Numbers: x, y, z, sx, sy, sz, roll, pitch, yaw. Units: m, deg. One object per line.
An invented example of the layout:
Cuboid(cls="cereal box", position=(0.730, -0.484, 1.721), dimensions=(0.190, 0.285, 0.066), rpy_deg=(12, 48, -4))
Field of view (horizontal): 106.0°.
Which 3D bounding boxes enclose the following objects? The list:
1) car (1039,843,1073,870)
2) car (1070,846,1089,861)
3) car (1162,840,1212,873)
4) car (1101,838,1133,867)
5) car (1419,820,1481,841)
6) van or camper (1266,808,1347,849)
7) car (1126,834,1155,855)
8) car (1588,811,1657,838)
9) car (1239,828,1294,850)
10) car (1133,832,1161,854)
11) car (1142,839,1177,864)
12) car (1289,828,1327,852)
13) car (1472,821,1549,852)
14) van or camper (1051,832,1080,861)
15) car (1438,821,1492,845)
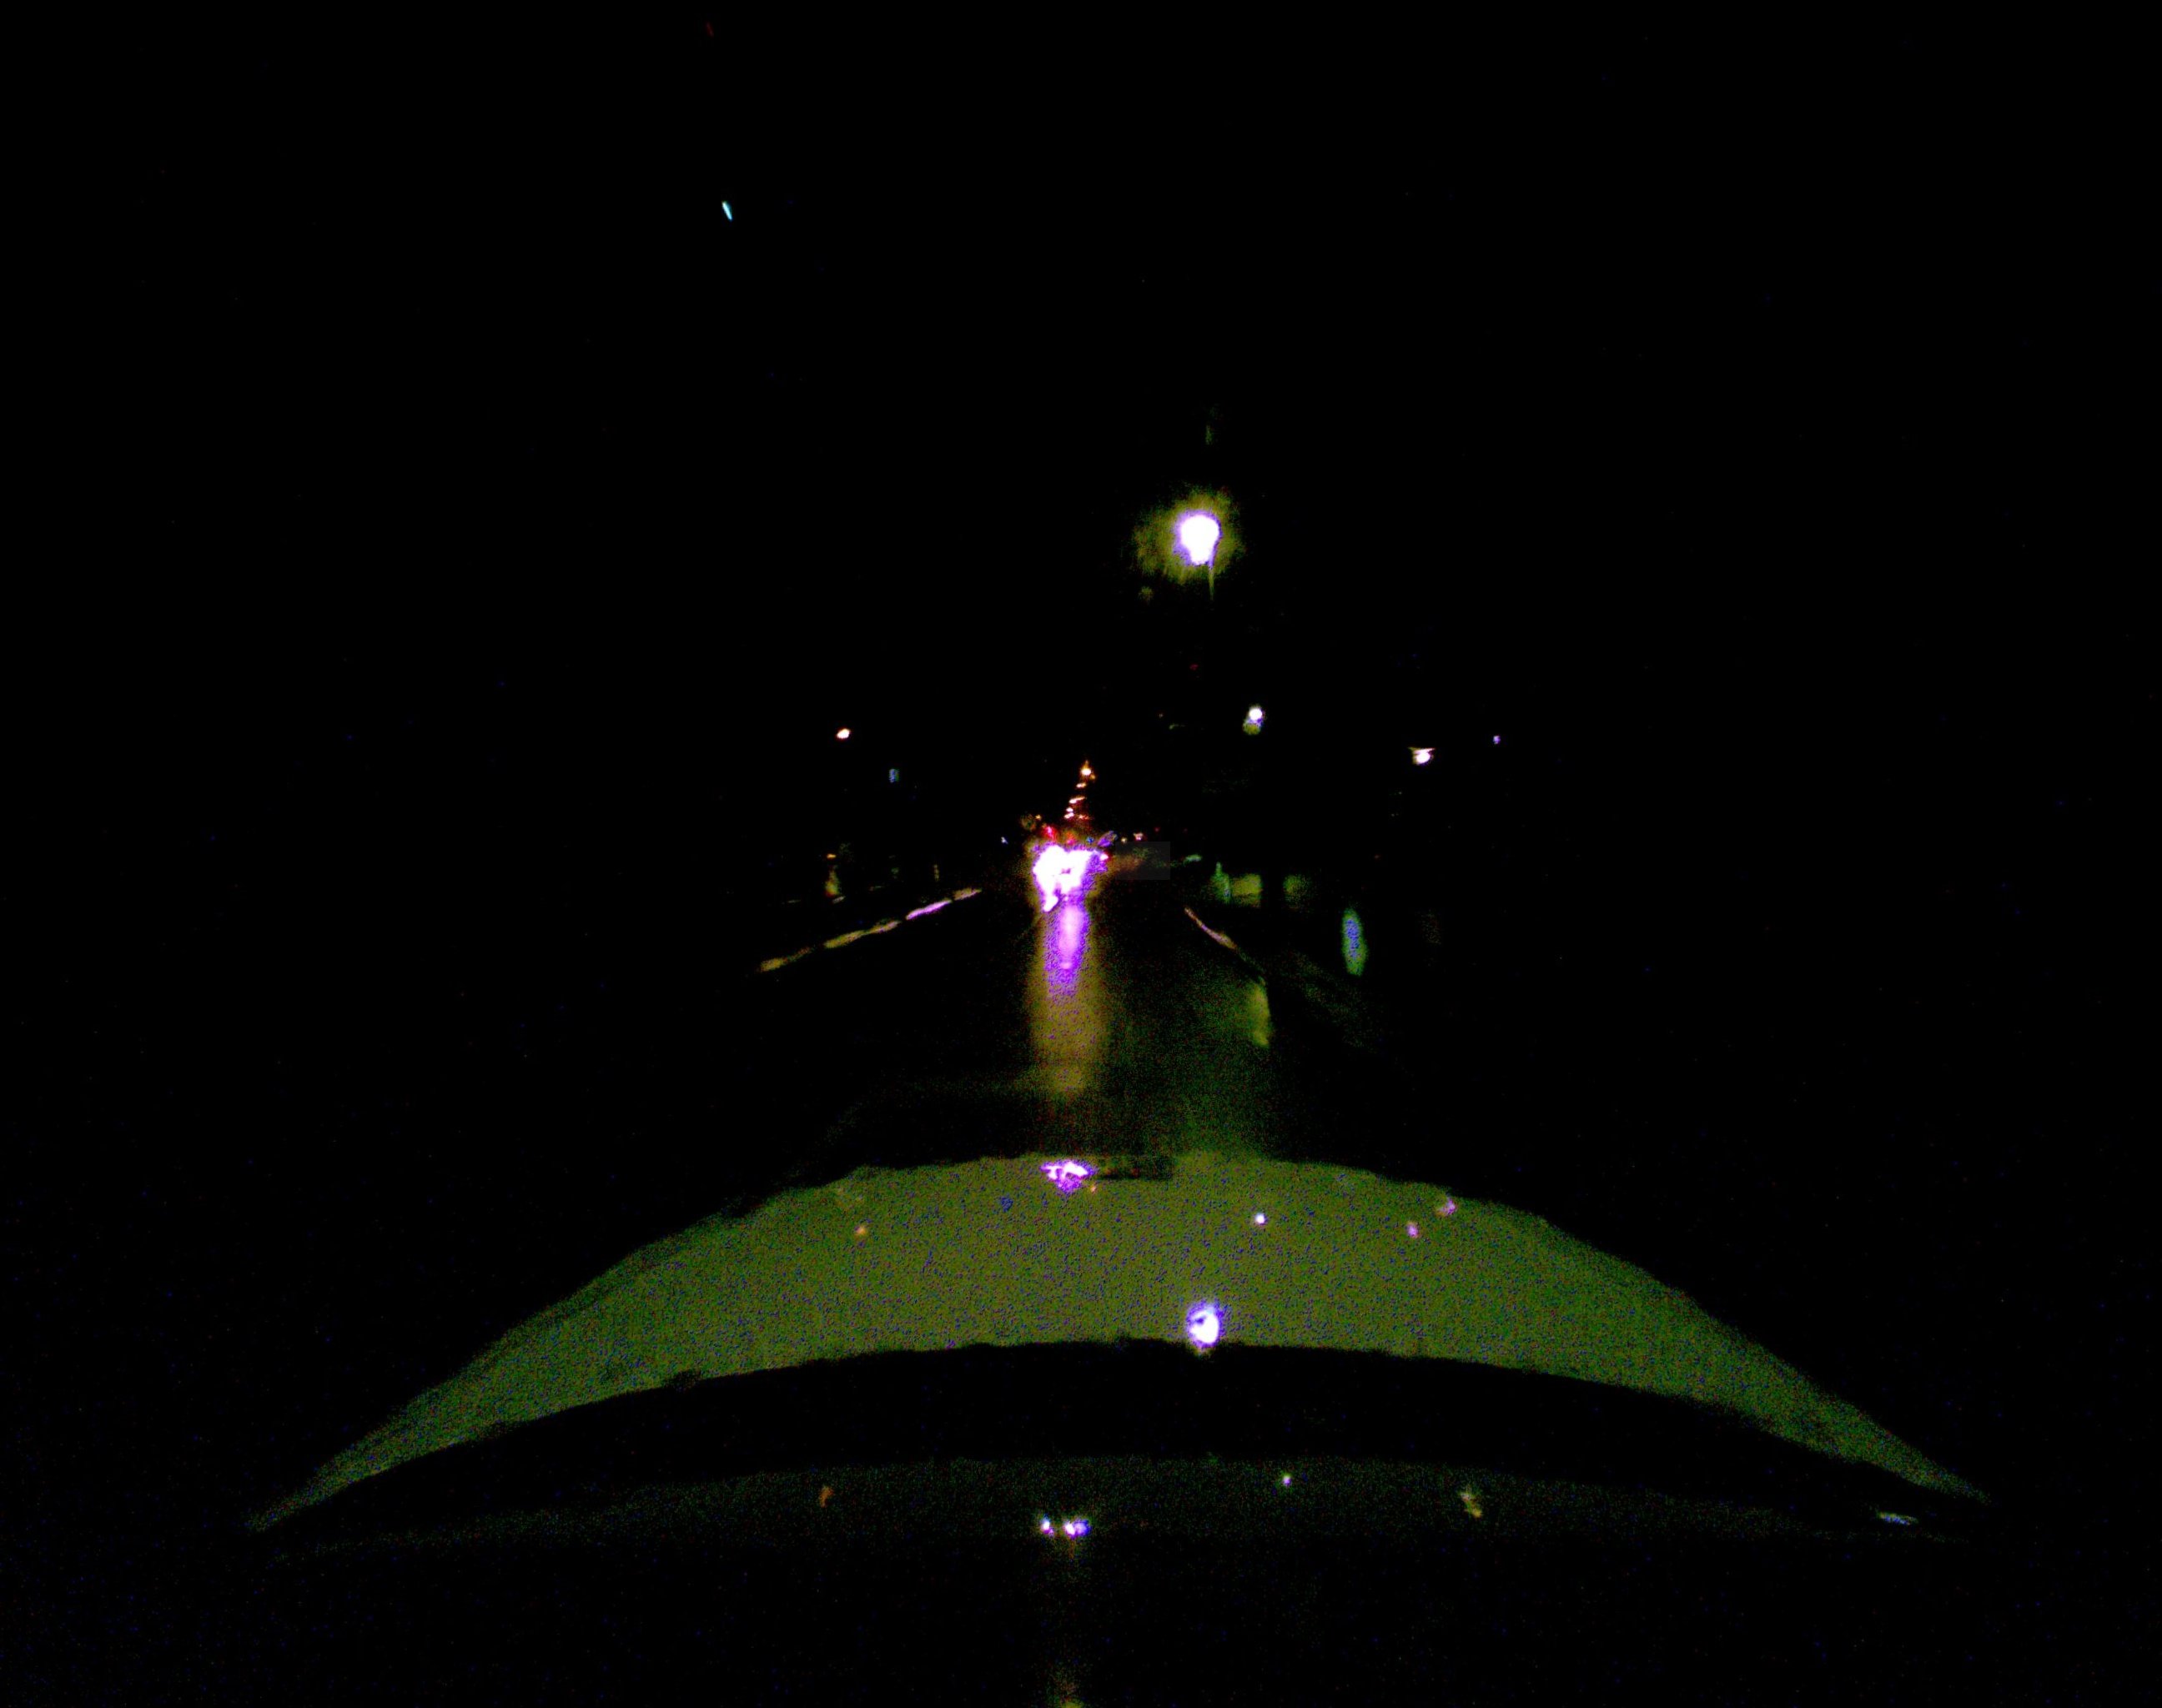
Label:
Cuboid(cls="car", position=(-1.522, 0.124, 50.745), dimensions=(1.738, 1.433, 4.003), rpy_deg=(-4, 1, 3))
Cuboid(cls="car", position=(-0.175, -0.050, 81.981), dimensions=(1.790, 1.461, 4.577), rpy_deg=(-1, 1, 0))
Cuboid(cls="car", position=(5.501, 0.087, 42.790), dimensions=(1.785, 1.449, 4.788), rpy_deg=(-5, 1, -1))
Cuboid(cls="car", position=(2.359, -0.128, 54.202), dimensions=(1.987, 1.683, 4.001), rpy_deg=(-3, 2, 1))
Cuboid(cls="car", position=(28.328, -1.807, 62.509), dimensions=(3.977, 1.353, 1.681), rpy_deg=(-3, 1, -2))
Cuboid(cls="van or camper", position=(15.874, -1.802, 57.528), dimensions=(5.042, 2.526, 2.173), rpy_deg=(-3, 1, 2))
Cuboid(cls="car", position=(5.107, -0.839, 70.645), dimensions=(1.876, 1.572, 4.524), rpy_deg=(-5, 1, -3))
Cuboid(cls="car", position=(40.529, -2.187, 60.977), dimensions=(3.972, 1.779, 1.707), rpy_deg=(-3, 1, 1))
Cuboid(cls="car", position=(14.802, -1.207, 65.115), dimensions=(3.976, 1.520, 1.684), rpy_deg=(-3, 1, -2))
Cuboid(cls="car", position=(5.288, -0.884, 65.602), dimensions=(1.750, 1.528, 4.151), rpy_deg=(-5, 1, -2))
Cuboid(cls="car", position=(5.117, -0.195, 53.784), dimensions=(1.708, 1.488, 4.434), rpy_deg=(-4, 0, -1))
Cuboid(cls="car", position=(14.967, -0.944, 53.766), dimensions=(1.557, 1.469, 3.409), rpy_deg=(-3, 1, 1))
Cuboid(cls="car", position=(22.152, -0.883, 42.214), dimensions=(1.819, 1.467, 4.261), rpy_deg=(-1, 0, 2))
Cuboid(cls="van or camper", position=(-1.177, -0.616, 63.787), dimensions=(1.863, 2.103, 4.944), rpy_deg=(-3, 1, 2))
Cuboid(cls="car", position=(25.110, -1.343, 53.397), dimensions=(1.672, 1.413, 4.264), rpy_deg=(-3, 1, 3))
